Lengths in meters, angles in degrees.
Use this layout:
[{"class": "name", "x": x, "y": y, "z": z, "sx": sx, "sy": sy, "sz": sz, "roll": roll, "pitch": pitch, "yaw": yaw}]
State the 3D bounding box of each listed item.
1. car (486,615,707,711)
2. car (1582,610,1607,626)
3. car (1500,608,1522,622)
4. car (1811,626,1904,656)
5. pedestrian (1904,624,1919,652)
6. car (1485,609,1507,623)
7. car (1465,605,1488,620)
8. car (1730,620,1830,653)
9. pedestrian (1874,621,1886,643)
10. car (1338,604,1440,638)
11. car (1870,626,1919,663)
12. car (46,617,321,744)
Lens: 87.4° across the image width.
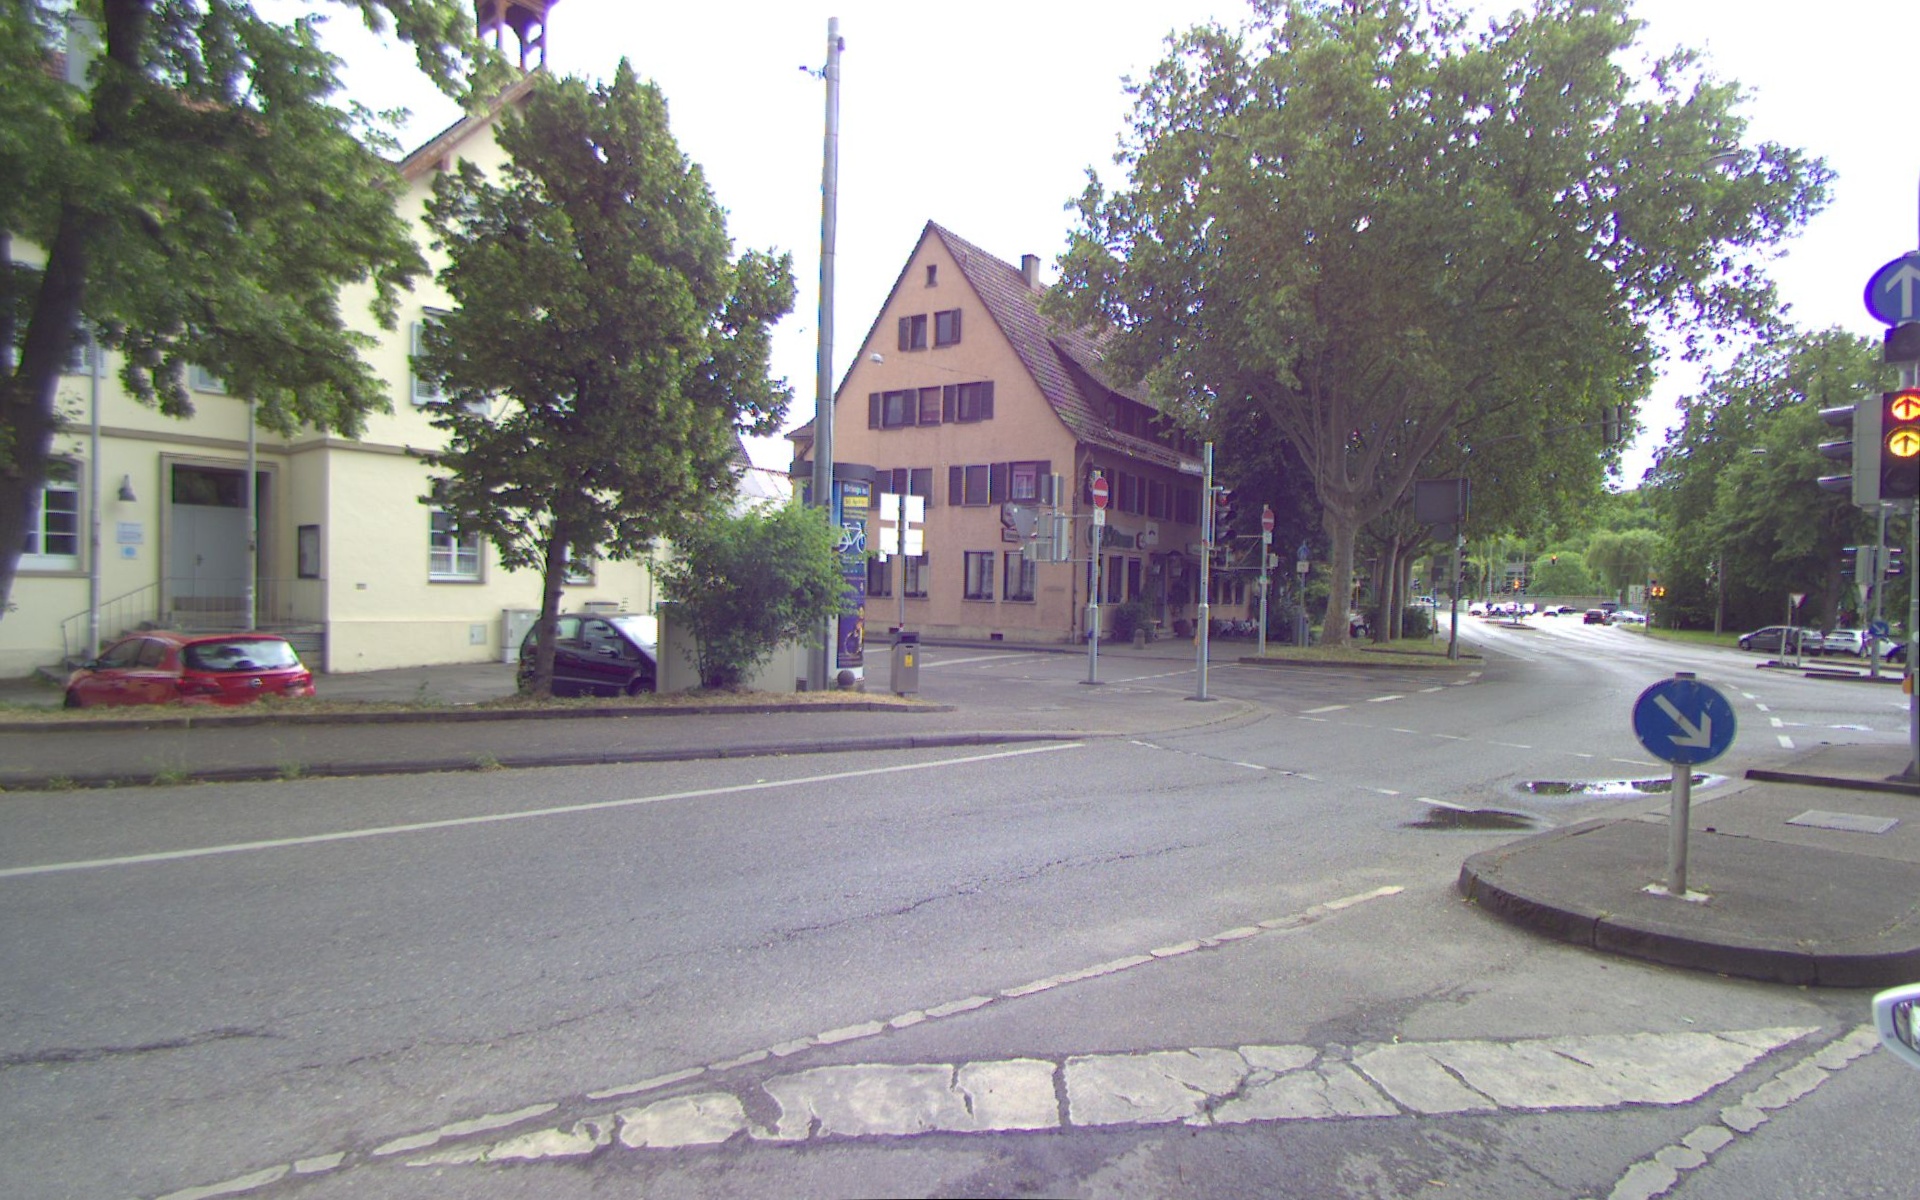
[{"class": "car", "x": -5.974, "y": 0.967, "z": 16.500, "sx": 3.335, "sy": 1.327, "sz": 1.482, "roll": 2, "pitch": 0, "yaw": 25}, {"class": "car", "x": 61.389, "y": 1.725, "z": 97.238, "sx": 1.795, "sy": 1.529, "sz": 4.566, "roll": 2, "pitch": 0, "yaw": 30}, {"class": "car", "x": 73.450, "y": 2.005, "z": 133.842, "sx": 1.887, "sy": 1.787, "sz": 4.733, "roll": 2, "pitch": 1, "yaw": 37}, {"class": "car", "x": 47.651, "y": 2.194, "z": 53.353, "sx": 4.194, "sy": 1.399, "sz": 1.758, "roll": 2, "pitch": 1, "yaw": -18}, {"class": "pedestrian", "x": 55.343, "y": 2.200, "z": 58.245, "sx": 0.673, "sy": 1.572, "sz": 0.741, "roll": 2, "pitch": 1, "yaw": 29}, {"class": "car", "x": 67.294, "y": 1.978, "z": 126.087, "sx": 1.773, "sy": 1.608, "sz": 4.398, "roll": 0, "pitch": 1, "yaw": 36}, {"class": "car", "x": 57.979, "y": 1.423, "z": 112.768, "sx": 1.738, "sy": 1.486, "sz": 4.010, "roll": 3, "pitch": 1, "yaw": 34}, {"class": "car", "x": 44.199, "y": 1.960, "z": 54.243, "sx": 1.701, "sy": 1.448, "sz": 4.106, "roll": 2, "pitch": 2, "yaw": -7}, {"class": "pedestrian", "x": 65.408, "y": 2.245, "z": 71.391, "sx": 0.504, "sy": 1.552, "sz": 0.775, "roll": 3, "pitch": 1, "yaw": 38}, {"class": "car", "x": 24.932, "y": 1.213, "z": 58.583, "sx": 5.137, "sy": 1.957, "sz": 2.085, "roll": 0, "pitch": 0, "yaw": 11}, {"class": "car", "x": 39.479, "y": 1.851, "z": 40.929, "sx": 1.542, "sy": 1.423, "sz": 3.493, "roll": 2, "pitch": 1, "yaw": -1}, {"class": "car", "x": -10.274, "y": 0.968, "z": 13.260, "sx": 3.564, "sy": 1.371, "sz": 1.597, "roll": 2, "pitch": 0, "yaw": 29}]
